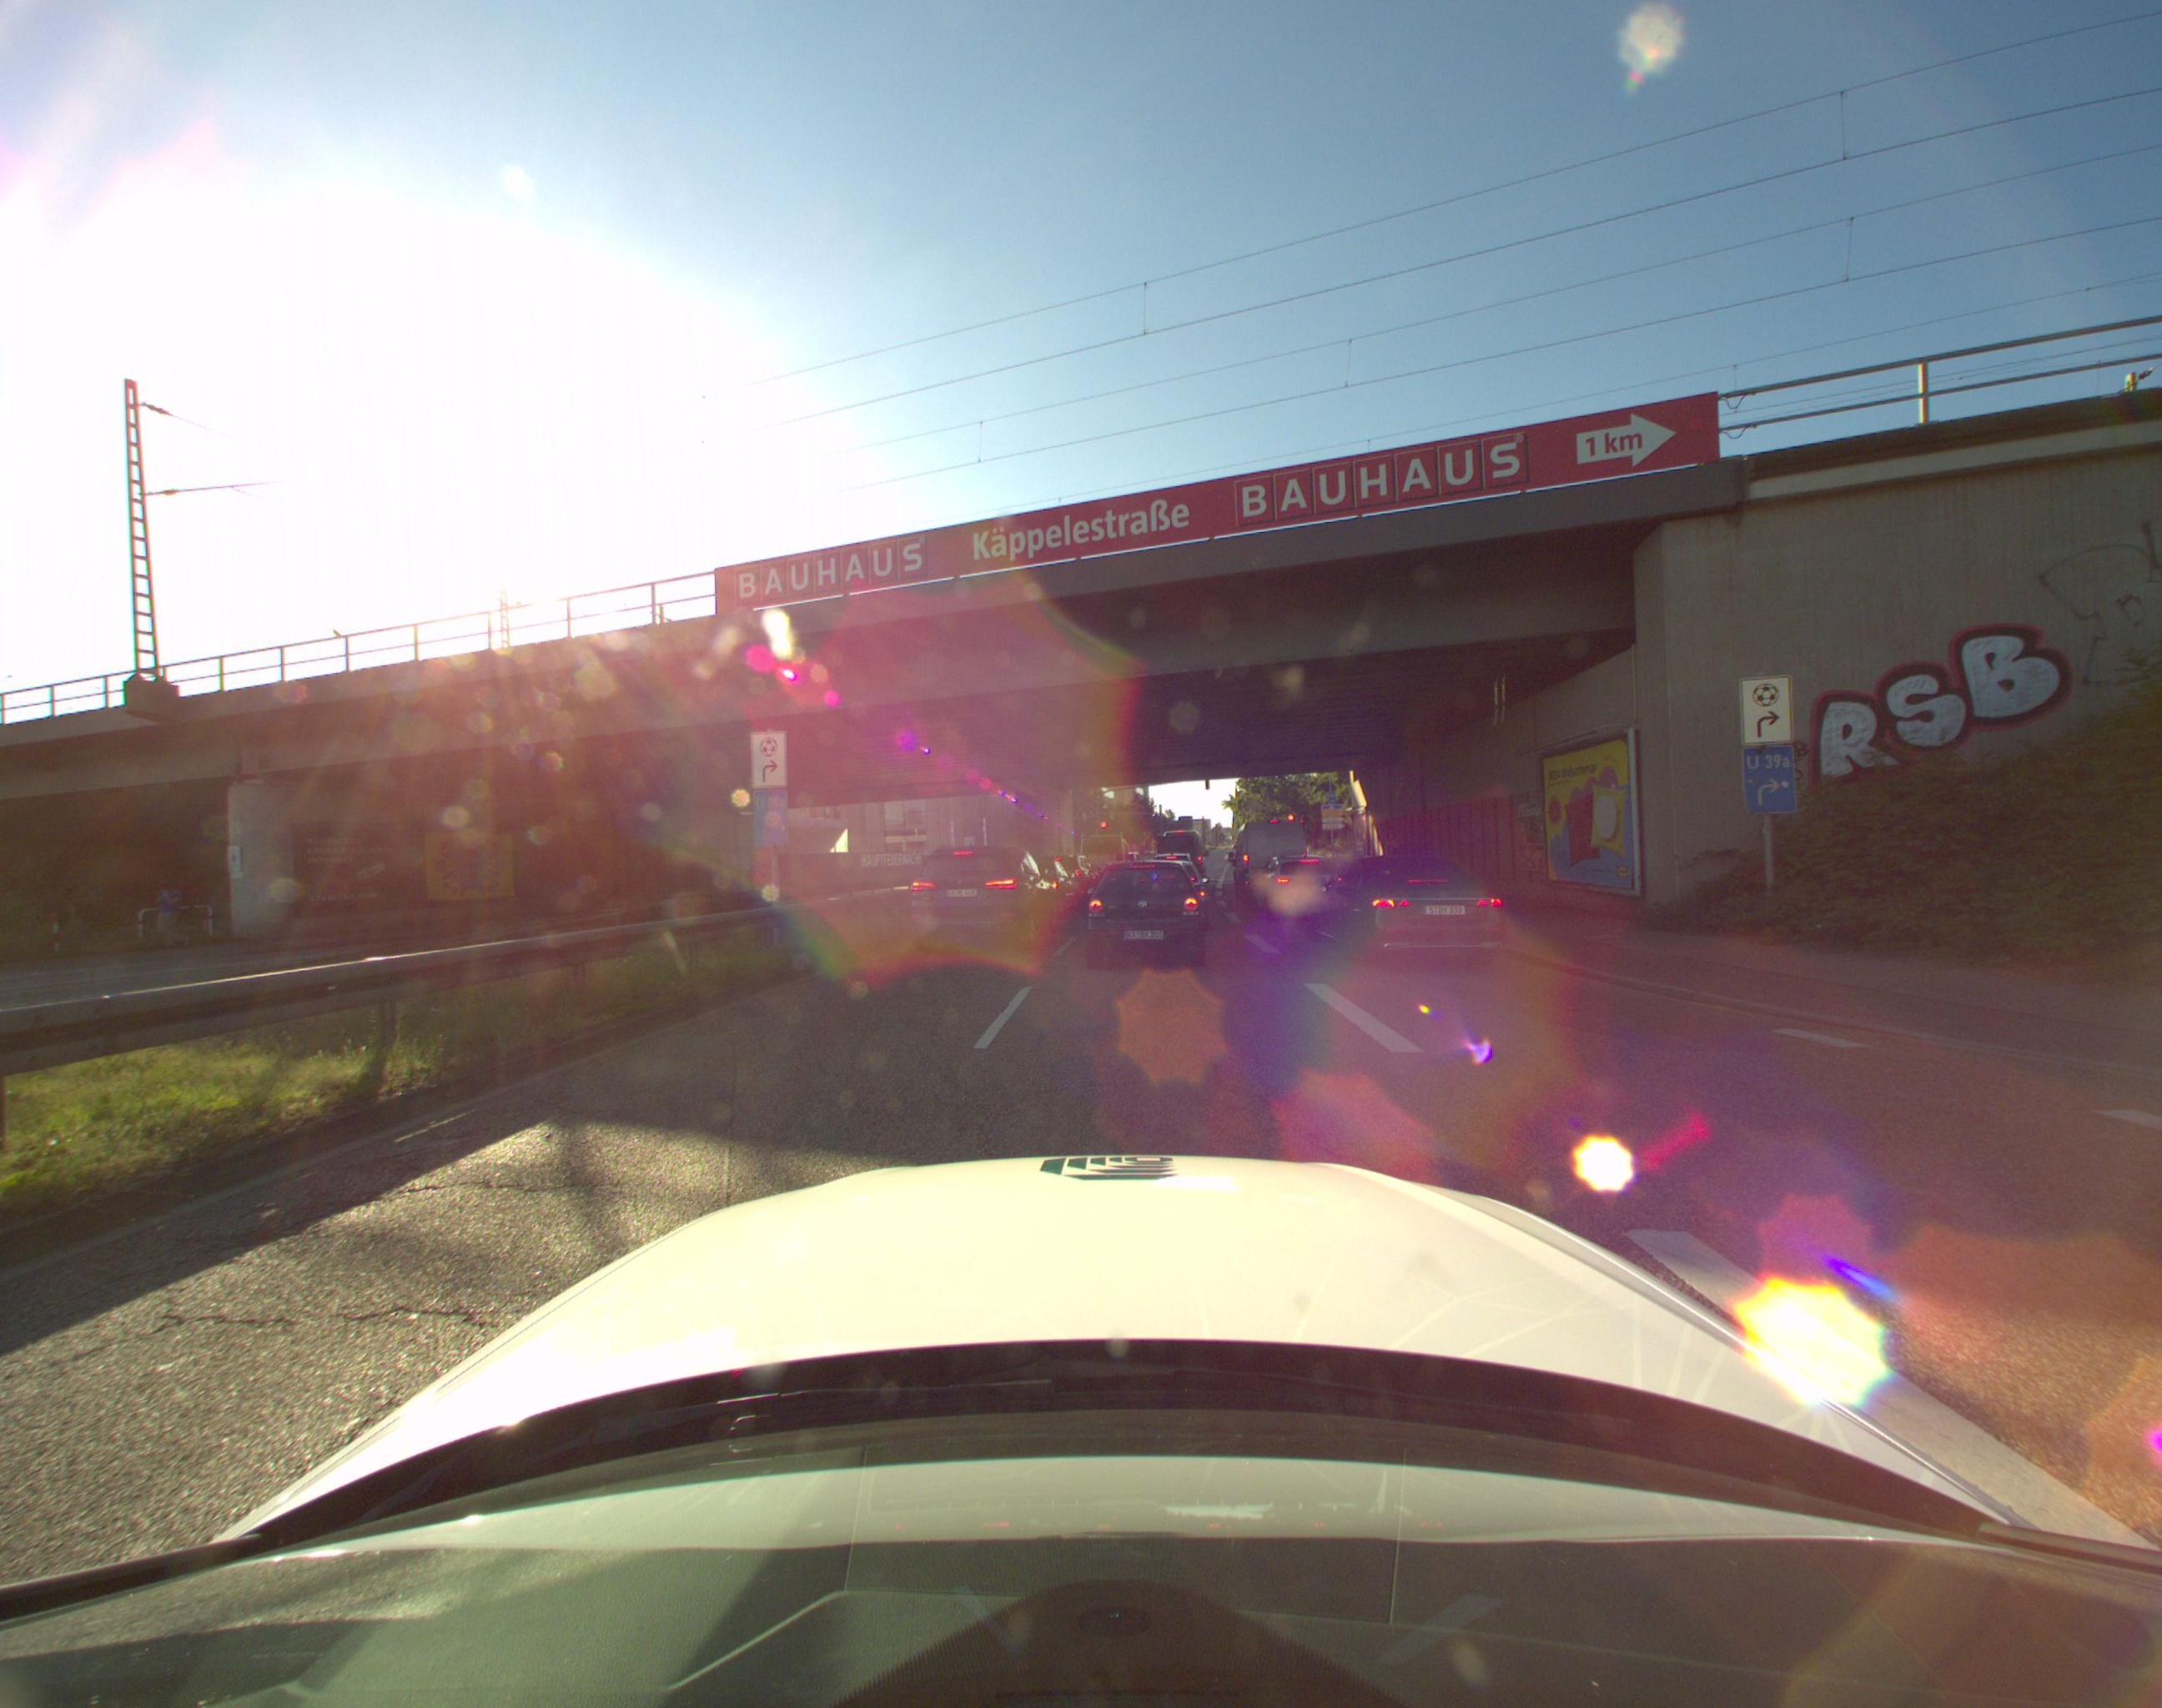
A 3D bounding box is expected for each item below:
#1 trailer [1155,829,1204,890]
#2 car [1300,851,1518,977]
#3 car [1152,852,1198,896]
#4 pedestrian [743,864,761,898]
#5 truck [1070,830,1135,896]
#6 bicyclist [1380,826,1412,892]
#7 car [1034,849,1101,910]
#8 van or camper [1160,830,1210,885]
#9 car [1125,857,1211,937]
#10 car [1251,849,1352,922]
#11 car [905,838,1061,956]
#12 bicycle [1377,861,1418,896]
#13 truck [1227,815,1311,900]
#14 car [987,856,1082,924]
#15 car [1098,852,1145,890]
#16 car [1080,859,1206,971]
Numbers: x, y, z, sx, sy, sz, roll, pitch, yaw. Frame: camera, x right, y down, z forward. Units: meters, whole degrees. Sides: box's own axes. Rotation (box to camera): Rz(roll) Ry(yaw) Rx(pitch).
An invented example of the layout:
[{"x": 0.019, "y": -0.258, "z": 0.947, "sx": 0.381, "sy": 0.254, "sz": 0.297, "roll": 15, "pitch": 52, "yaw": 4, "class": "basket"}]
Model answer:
[{"x": 4.467, "y": 0.267, "z": 36.576, "sx": 1.853, "sy": 2.465, "sz": 3.841, "roll": -3, "pitch": -1, "yaw": 9, "class": "trailer"}, {"x": 4.565, "y": 0.726, "z": 12.123, "sx": 1.732, "sy": 1.454, "sz": 4.612, "roll": -2, "pitch": 0, "yaw": 5, "class": "car"}, {"x": 3.566, "y": 0.739, "z": 30.641, "sx": 1.573, "sy": 1.532, "sz": 3.840, "roll": -2, "pitch": -1, "yaw": 8, "class": "car"}, {"x": -18.696, "y": 1.534, "z": 46.311, "sx": 0.690, "sy": 1.904, "sz": 0.667, "roll": -2, "pitch": -1, "yaw": 9, "class": "pedestrian"}, {"x": 1.022, "y": 0.402, "z": 34.673, "sx": 2.016, "sy": 2.557, "sz": 5.550, "roll": -2, "pitch": -1, "yaw": 8, "class": "truck"}, {"x": 9.376, "y": 0.163, "z": 24.252, "sx": 0.678, "sy": 1.907, "sz": 0.835, "roll": -2, "pitch": -1, "yaw": 10, "class": "bicyclist"}, {"x": -0.380, "y": 0.838, "z": 27.259, "sx": 1.834, "sy": 1.719, "sz": 4.002, "roll": -5, "pitch": -1, "yaw": 2, "class": "car"}, {"x": 5.442, "y": 0.208, "z": 42.004, "sx": 1.980, "sy": 2.571, "sz": 5.936, "roll": -2, "pitch": -1, "yaw": 12, "class": "van or camper"}, {"x": 1.879, "y": 0.836, "z": 17.491, "sx": 1.539, "sy": 1.423, "sz": 3.423, "roll": -5, "pitch": -1, "yaw": 7, "class": "car"}, {"x": 5.156, "y": 0.712, "z": 19.541, "sx": 1.763, "sy": 1.495, "sz": 3.839, "roll": -3, "pitch": -1, "yaw": 7, "class": "car"}, {"x": -1.574, "y": 0.705, "z": 14.737, "sx": 1.820, "sy": 1.738, "sz": 4.468, "roll": -2, "pitch": -1, "yaw": 5, "class": "car"}, {"x": 9.425, "y": 0.716, "z": 24.347, "sx": 0.575, "sy": 0.963, "sz": 2.894, "roll": -2, "pitch": -1, "yaw": 11, "class": "bicycle"}, {"x": 6.220, "y": 0.143, "z": 27.442, "sx": 2.100, "sy": 2.519, "sz": 4.408, "roll": -3, "pitch": -1, "yaw": 6, "class": "truck"}, {"x": -1.111, "y": 0.890, "z": 21.140, "sx": 1.833, "sy": 1.440, "sz": 3.680, "roll": -5, "pitch": -1, "yaw": 5, "class": "car"}, {"x": 2.251, "y": 0.919, "z": 43.903, "sx": 1.981, "sy": 1.901, "sz": 4.010, "roll": -2, "pitch": -1, "yaw": 9, "class": "car"}, {"x": 0.921, "y": 0.832, "z": 12.388, "sx": 1.575, "sy": 1.409, "sz": 3.835, "roll": -1, "pitch": -1, "yaw": 4, "class": "car"}]
